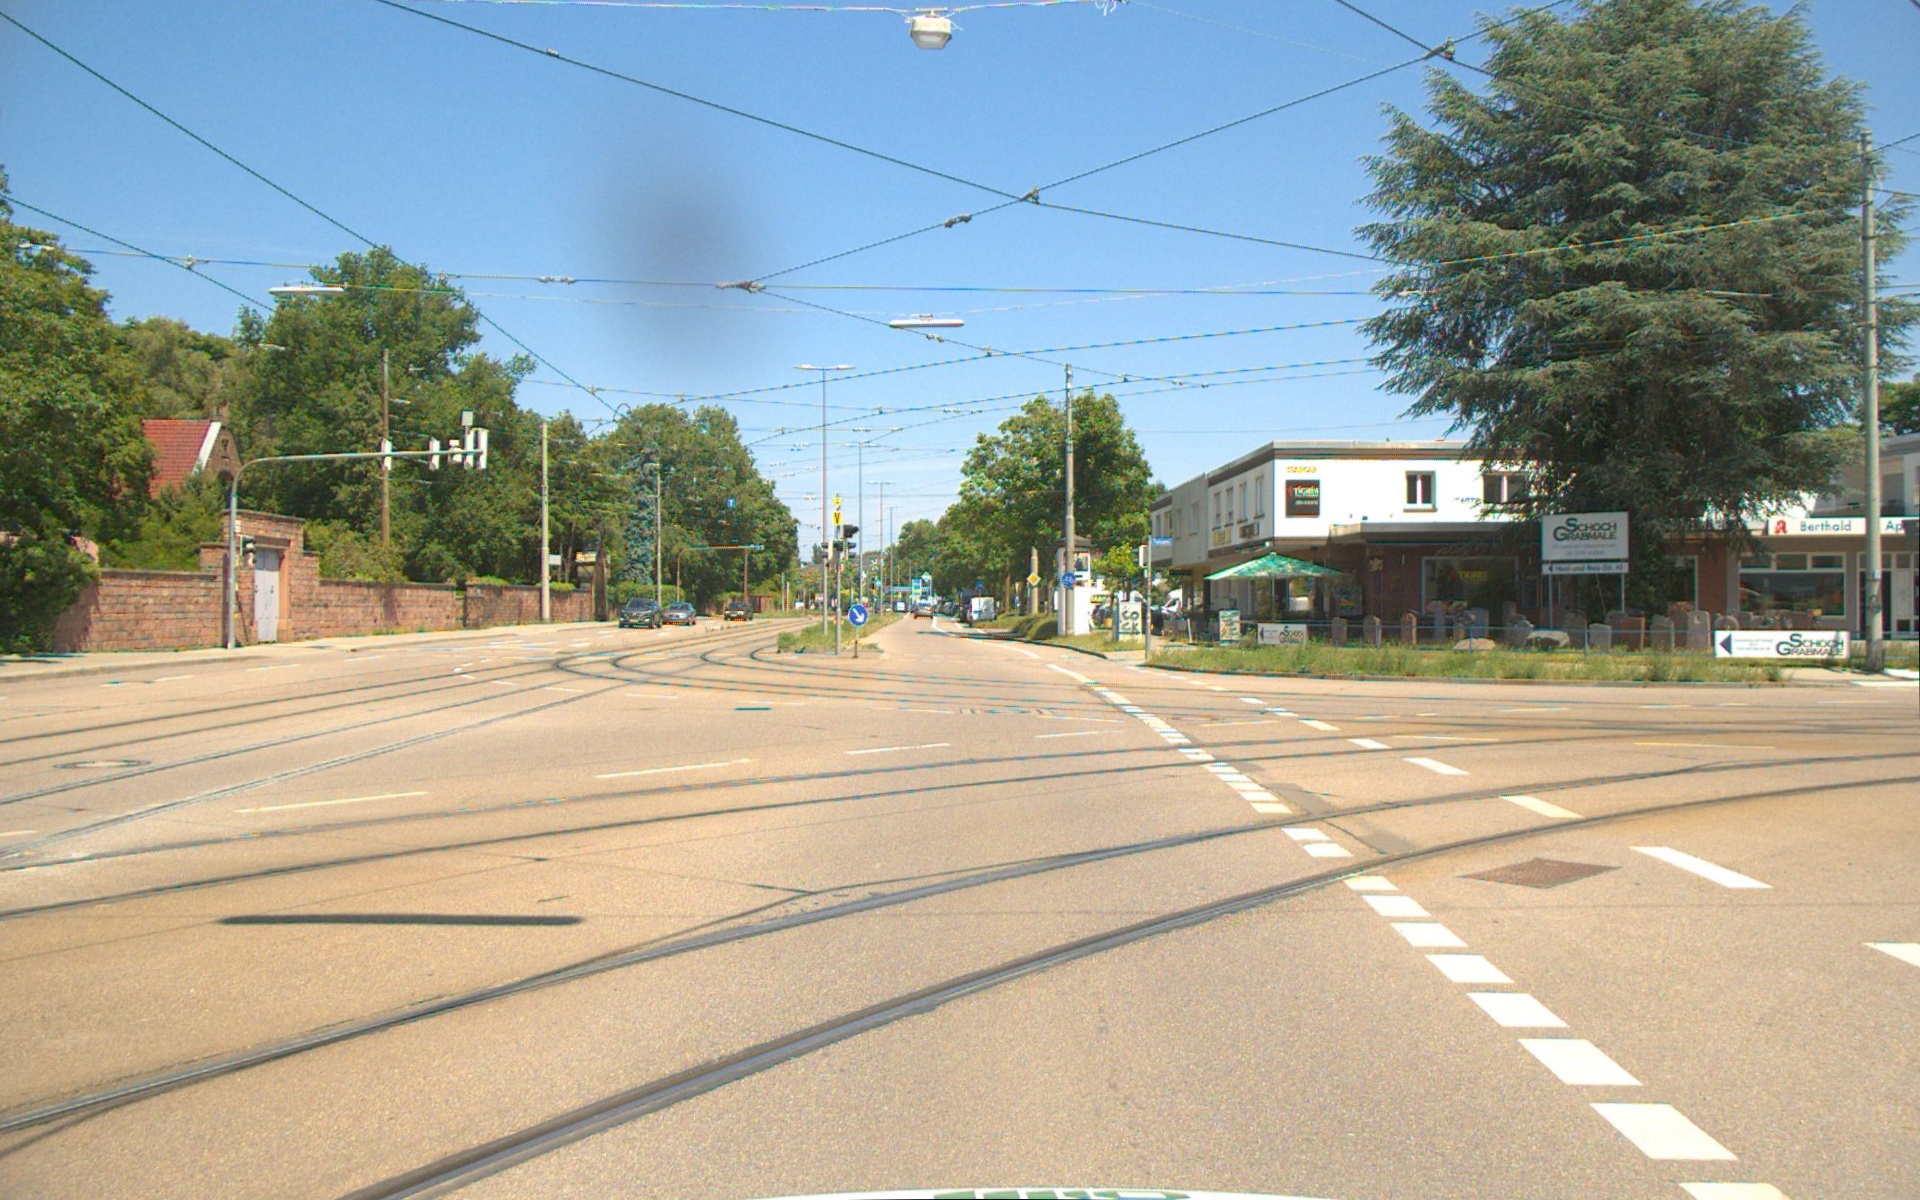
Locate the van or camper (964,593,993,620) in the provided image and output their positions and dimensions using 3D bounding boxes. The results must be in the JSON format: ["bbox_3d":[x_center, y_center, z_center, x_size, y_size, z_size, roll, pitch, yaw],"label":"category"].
[{"bbox_3d":[1.228,0.435,111.981,1.883,1.803,3.999,0,0,0],"label":"van or camper"}]

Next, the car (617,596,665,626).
[{"bbox_3d":[-17.687,0.597,91.799,1.782,1.631,4.520,0,0,0],"label":"car"}]

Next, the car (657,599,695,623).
[{"bbox_3d":[-18.018,0.684,105.188,1.607,1.446,4.168,0,0,1],"label":"car"}]

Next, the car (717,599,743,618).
[{"bbox_3d":[-18.177,0.660,130.923,1.608,1.424,4.114,2,0,-2],"label":"car"}]

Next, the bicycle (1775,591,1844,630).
[{"bbox_3d":[27.013,0.336,52.628,1.831,1.213,0.599,2,-1,10],"label":"bicycle"}]

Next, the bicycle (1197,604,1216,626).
[{"bbox_3d":[11.965,0.732,80.407,0.497,1.084,1.862,2,-1,-4],"label":"bicycle"}]

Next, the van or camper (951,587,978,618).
[{"bbox_3d":[0.327,0.217,134.427,1.954,2.507,3.997,0,0,-3],"label":"van or camper"}]

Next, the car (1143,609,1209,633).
[{"bbox_3d":[12.595,1.237,96.570,3.539,1.375,1.488,0,0,-8],"label":"car"}]

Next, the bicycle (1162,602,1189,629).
[{"bbox_3d":[8.610,0.610,66.192,1.012,1.032,2.639,0,0,6],"label":"bicycle"}]

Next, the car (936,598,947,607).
[{"bbox_3d":[-2.728,0.364,247.049,1.493,1.319,3.490,0,0,-3],"label":"car"}]

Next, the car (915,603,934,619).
[{"bbox_3d":[-3.219,0.997,150.889,1.604,1.375,3.839,0,0,-3],"label":"car"}]

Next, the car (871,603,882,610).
[{"bbox_3d":[-12.439,0.953,246.614,1.462,1.064,3.579,0,0,-1],"label":"car"}]

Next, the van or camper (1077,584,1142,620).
[{"bbox_3d":[11.314,0.126,125.155,4.661,2.718,2.134,0,0,-3],"label":"van or camper"}]
